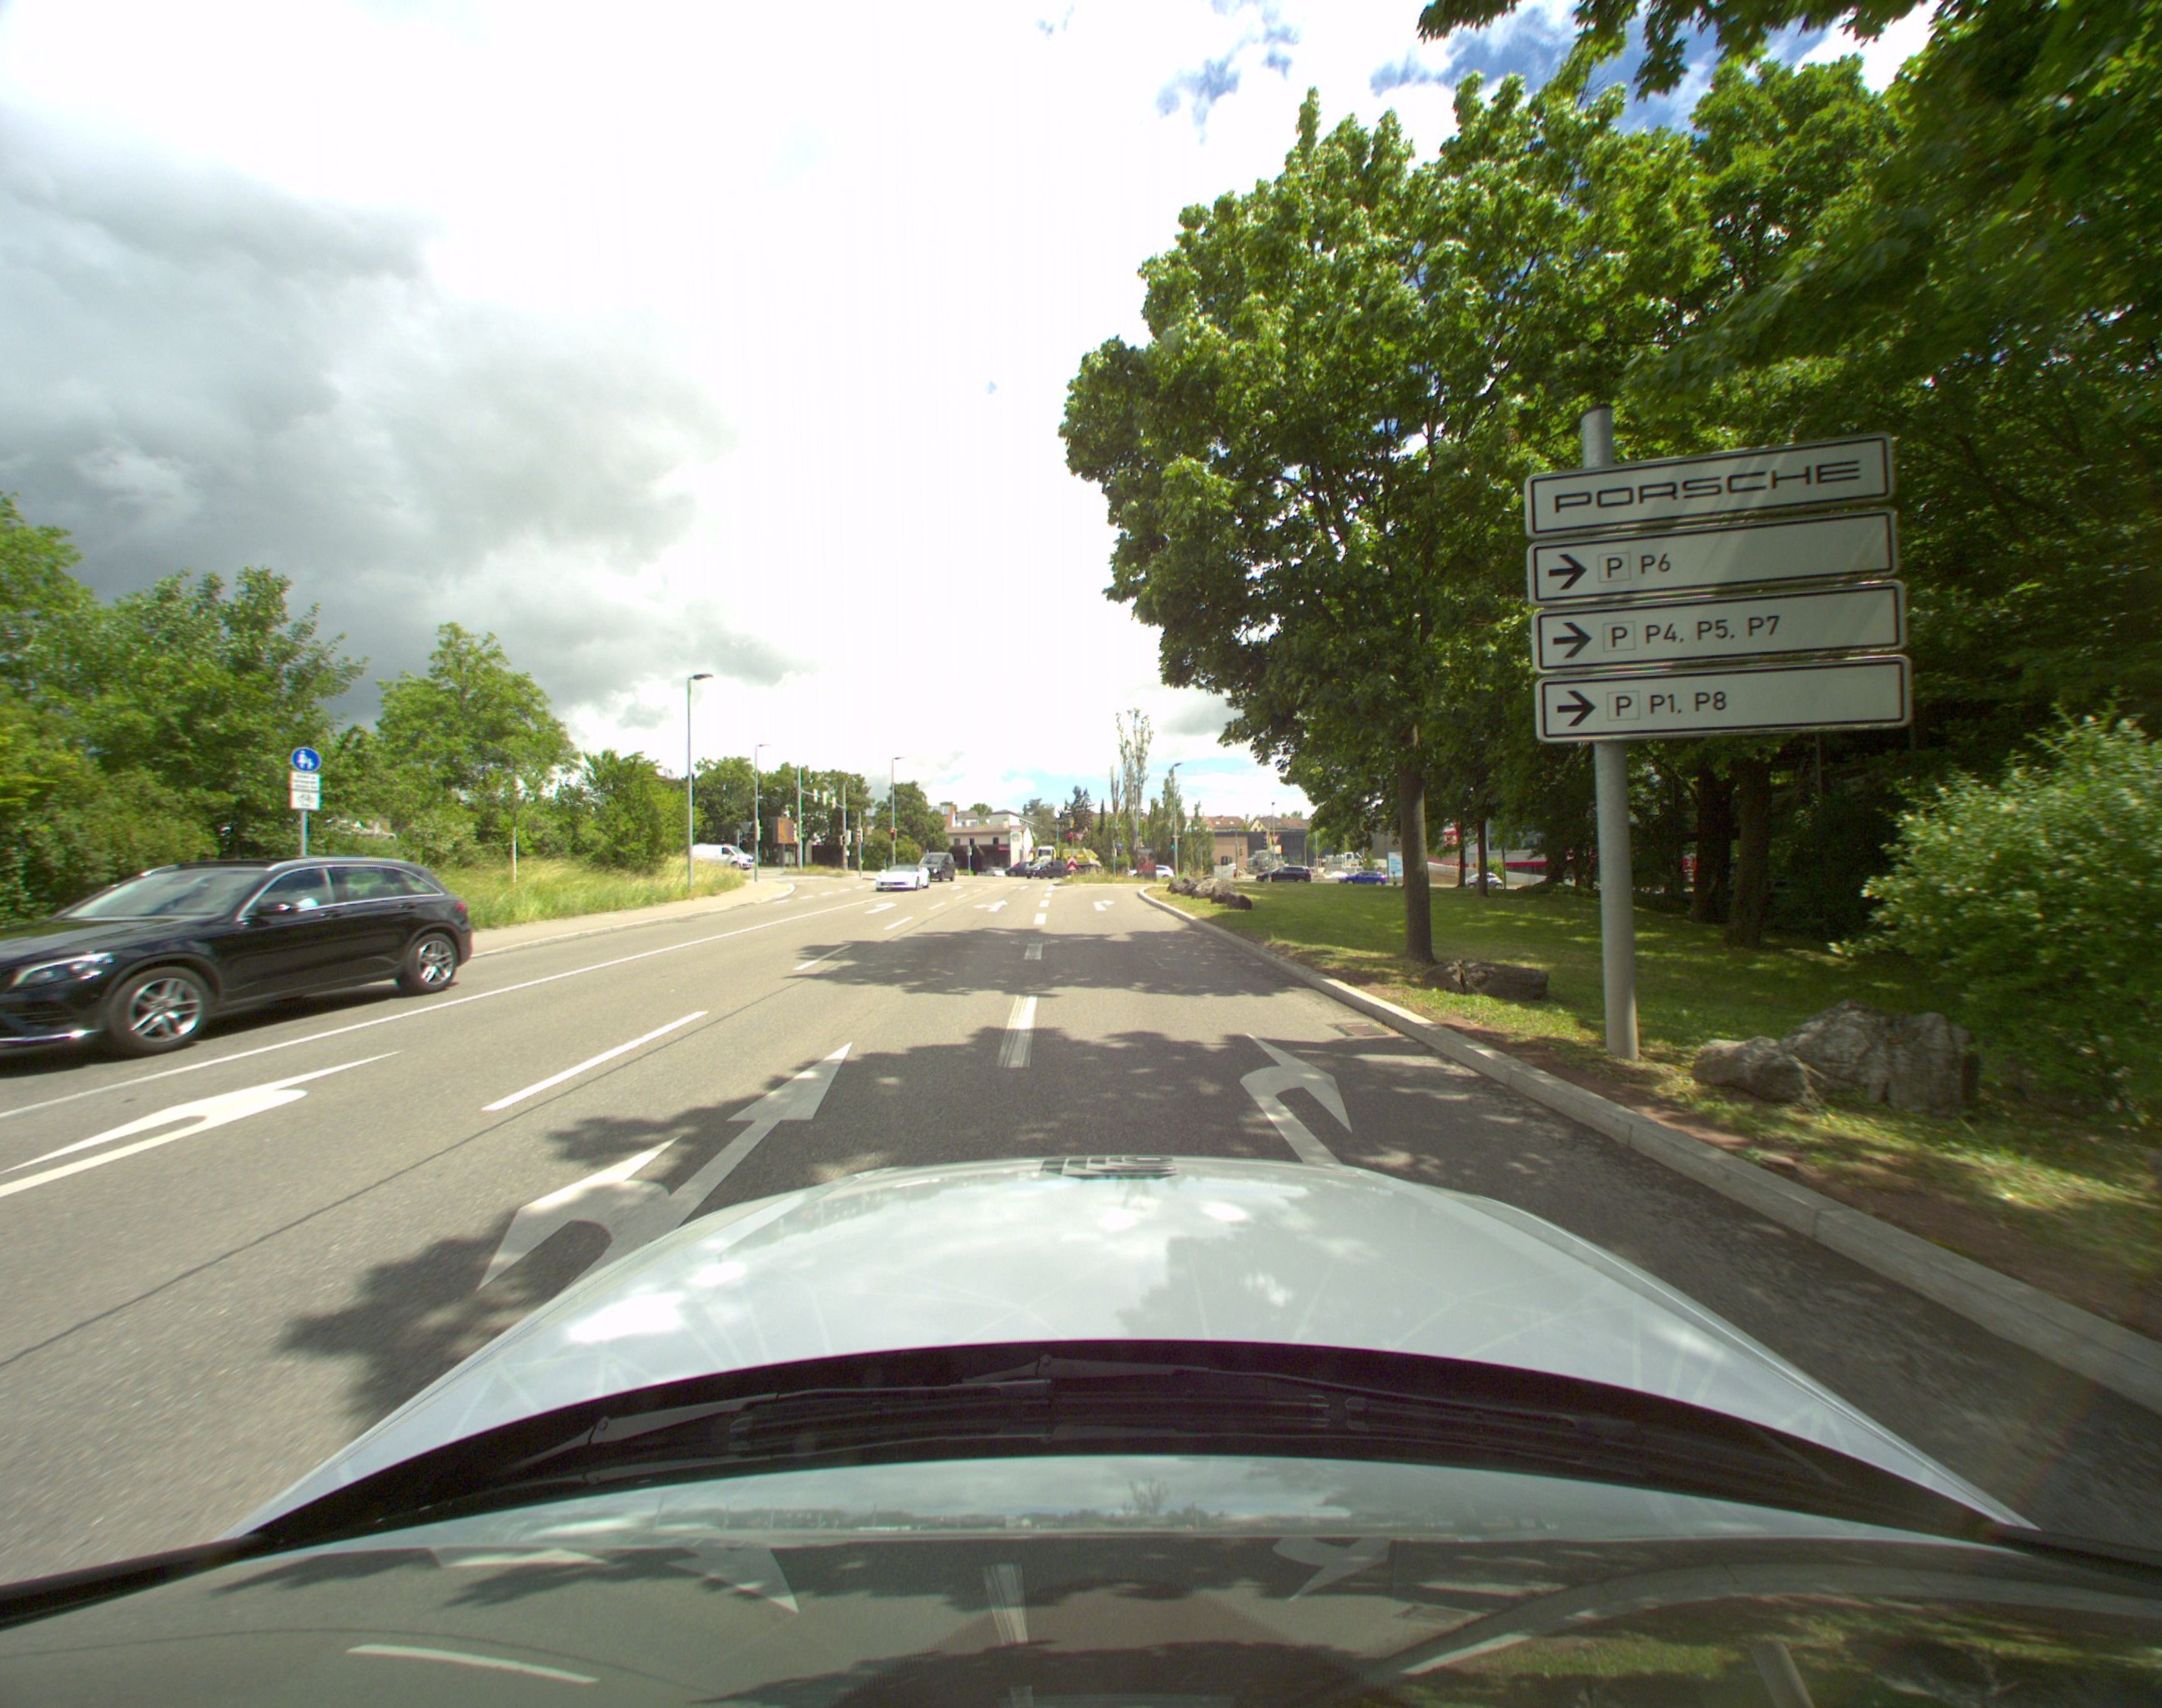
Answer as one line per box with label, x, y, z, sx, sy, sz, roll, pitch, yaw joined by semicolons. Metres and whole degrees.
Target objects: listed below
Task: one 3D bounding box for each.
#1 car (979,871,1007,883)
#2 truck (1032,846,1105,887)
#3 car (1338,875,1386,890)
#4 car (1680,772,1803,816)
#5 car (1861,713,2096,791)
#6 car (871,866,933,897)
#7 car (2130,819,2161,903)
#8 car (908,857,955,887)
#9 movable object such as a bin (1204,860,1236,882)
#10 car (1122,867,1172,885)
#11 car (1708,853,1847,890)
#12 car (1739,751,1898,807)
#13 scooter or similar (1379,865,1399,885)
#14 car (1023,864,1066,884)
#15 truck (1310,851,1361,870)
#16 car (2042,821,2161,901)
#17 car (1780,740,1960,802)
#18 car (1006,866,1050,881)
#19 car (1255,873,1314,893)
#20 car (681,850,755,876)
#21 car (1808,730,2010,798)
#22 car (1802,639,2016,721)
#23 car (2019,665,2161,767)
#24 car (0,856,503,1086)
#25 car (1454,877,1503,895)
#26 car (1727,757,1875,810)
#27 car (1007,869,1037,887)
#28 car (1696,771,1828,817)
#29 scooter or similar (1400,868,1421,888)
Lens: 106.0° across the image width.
car;-10.484;2.729;97.160;1.703;1.400;3.958;2;-2;-33
truck;-1.220;1.282;80.961;6.919;3.579;2.847;-4;-2;1
car;26.268;2.645;76.169;3.969;1.400;1.698;0;-2;4
car;27.804;-2.476;34.414;3.658;1.541;1.737;-3;0;23
car;23.021;-2.574;21.083;3.658;1.541;1.737;-3;0;23
car;-8.343;1.271;38.428;1.899;1.291;4.607;-3;-1;-1
car;19.566;0.038;12.511;3.811;1.392;1.786;-2;-2;22
car;-9.356;1.152;51.331;1.777;1.779;4.816;-1;-1;4
movable object such as a bin;16.368;2.049;95.695;3.374;2.538;2.163;0;-2;21
car;5.924;1.981;73.353;4.346;1.469;1.623;1;-1;2
car;27.209;0.700;31.969;3.753;1.292;1.786;-2;-2;22
car;25.209;-2.524;27.998;3.658;1.541;1.737;-3;0;23
scooter or similar;20.348;1.406;53.771;1.190;1.264;0.530;1;-4;-21
car;-3.027;1.669;68.080;1.768;1.578;4.188;-2;-1;25
truck;34.795;0.888;111.440;6.507;2.146;2.009;-4;-2;17
car;20.533;0.067;14.649;3.753;1.392;1.786;-2;-2;22
car;24.685;-2.570;25.662;3.658;1.541;1.737;-3;0;23
car;-4.970;1.883;77.275;3.971;1.400;1.697;0;-2;2
car;18.217;2.567;73.118;4.941;1.690;1.913;1;-1;5
car;-28.917;0.733;64.906;4.939;1.937;1.910;1;-1;-1
car;23.701;-2.536;23.495;3.658;1.541;1.737;-3;0;23
car;24.020;-5.014;23.841;3.951;1.662;1.879;0;-2;24
car;20.465;-2.629;15.070;3.658;1.619;1.737;-3;0;23
car;-8.358;0.922;8.229;1.816;1.654;4.530;-3;-1;-1
car;35.285;2.828;72.313;3.497;1.460;1.587;-3;-1;4
car;26.159;-2.528;29.741;3.658;1.541;1.737;-3;0;23
car;-7.053;2.855;97.501;1.913;1.860;3.770;-2;-2;-33
car;27.082;-2.356;32.532;3.658;1.541;1.737;-3;0;23
scooter or similar;21.685;1.584;53.557;1.190;1.264;0.530;1;-4;-21
